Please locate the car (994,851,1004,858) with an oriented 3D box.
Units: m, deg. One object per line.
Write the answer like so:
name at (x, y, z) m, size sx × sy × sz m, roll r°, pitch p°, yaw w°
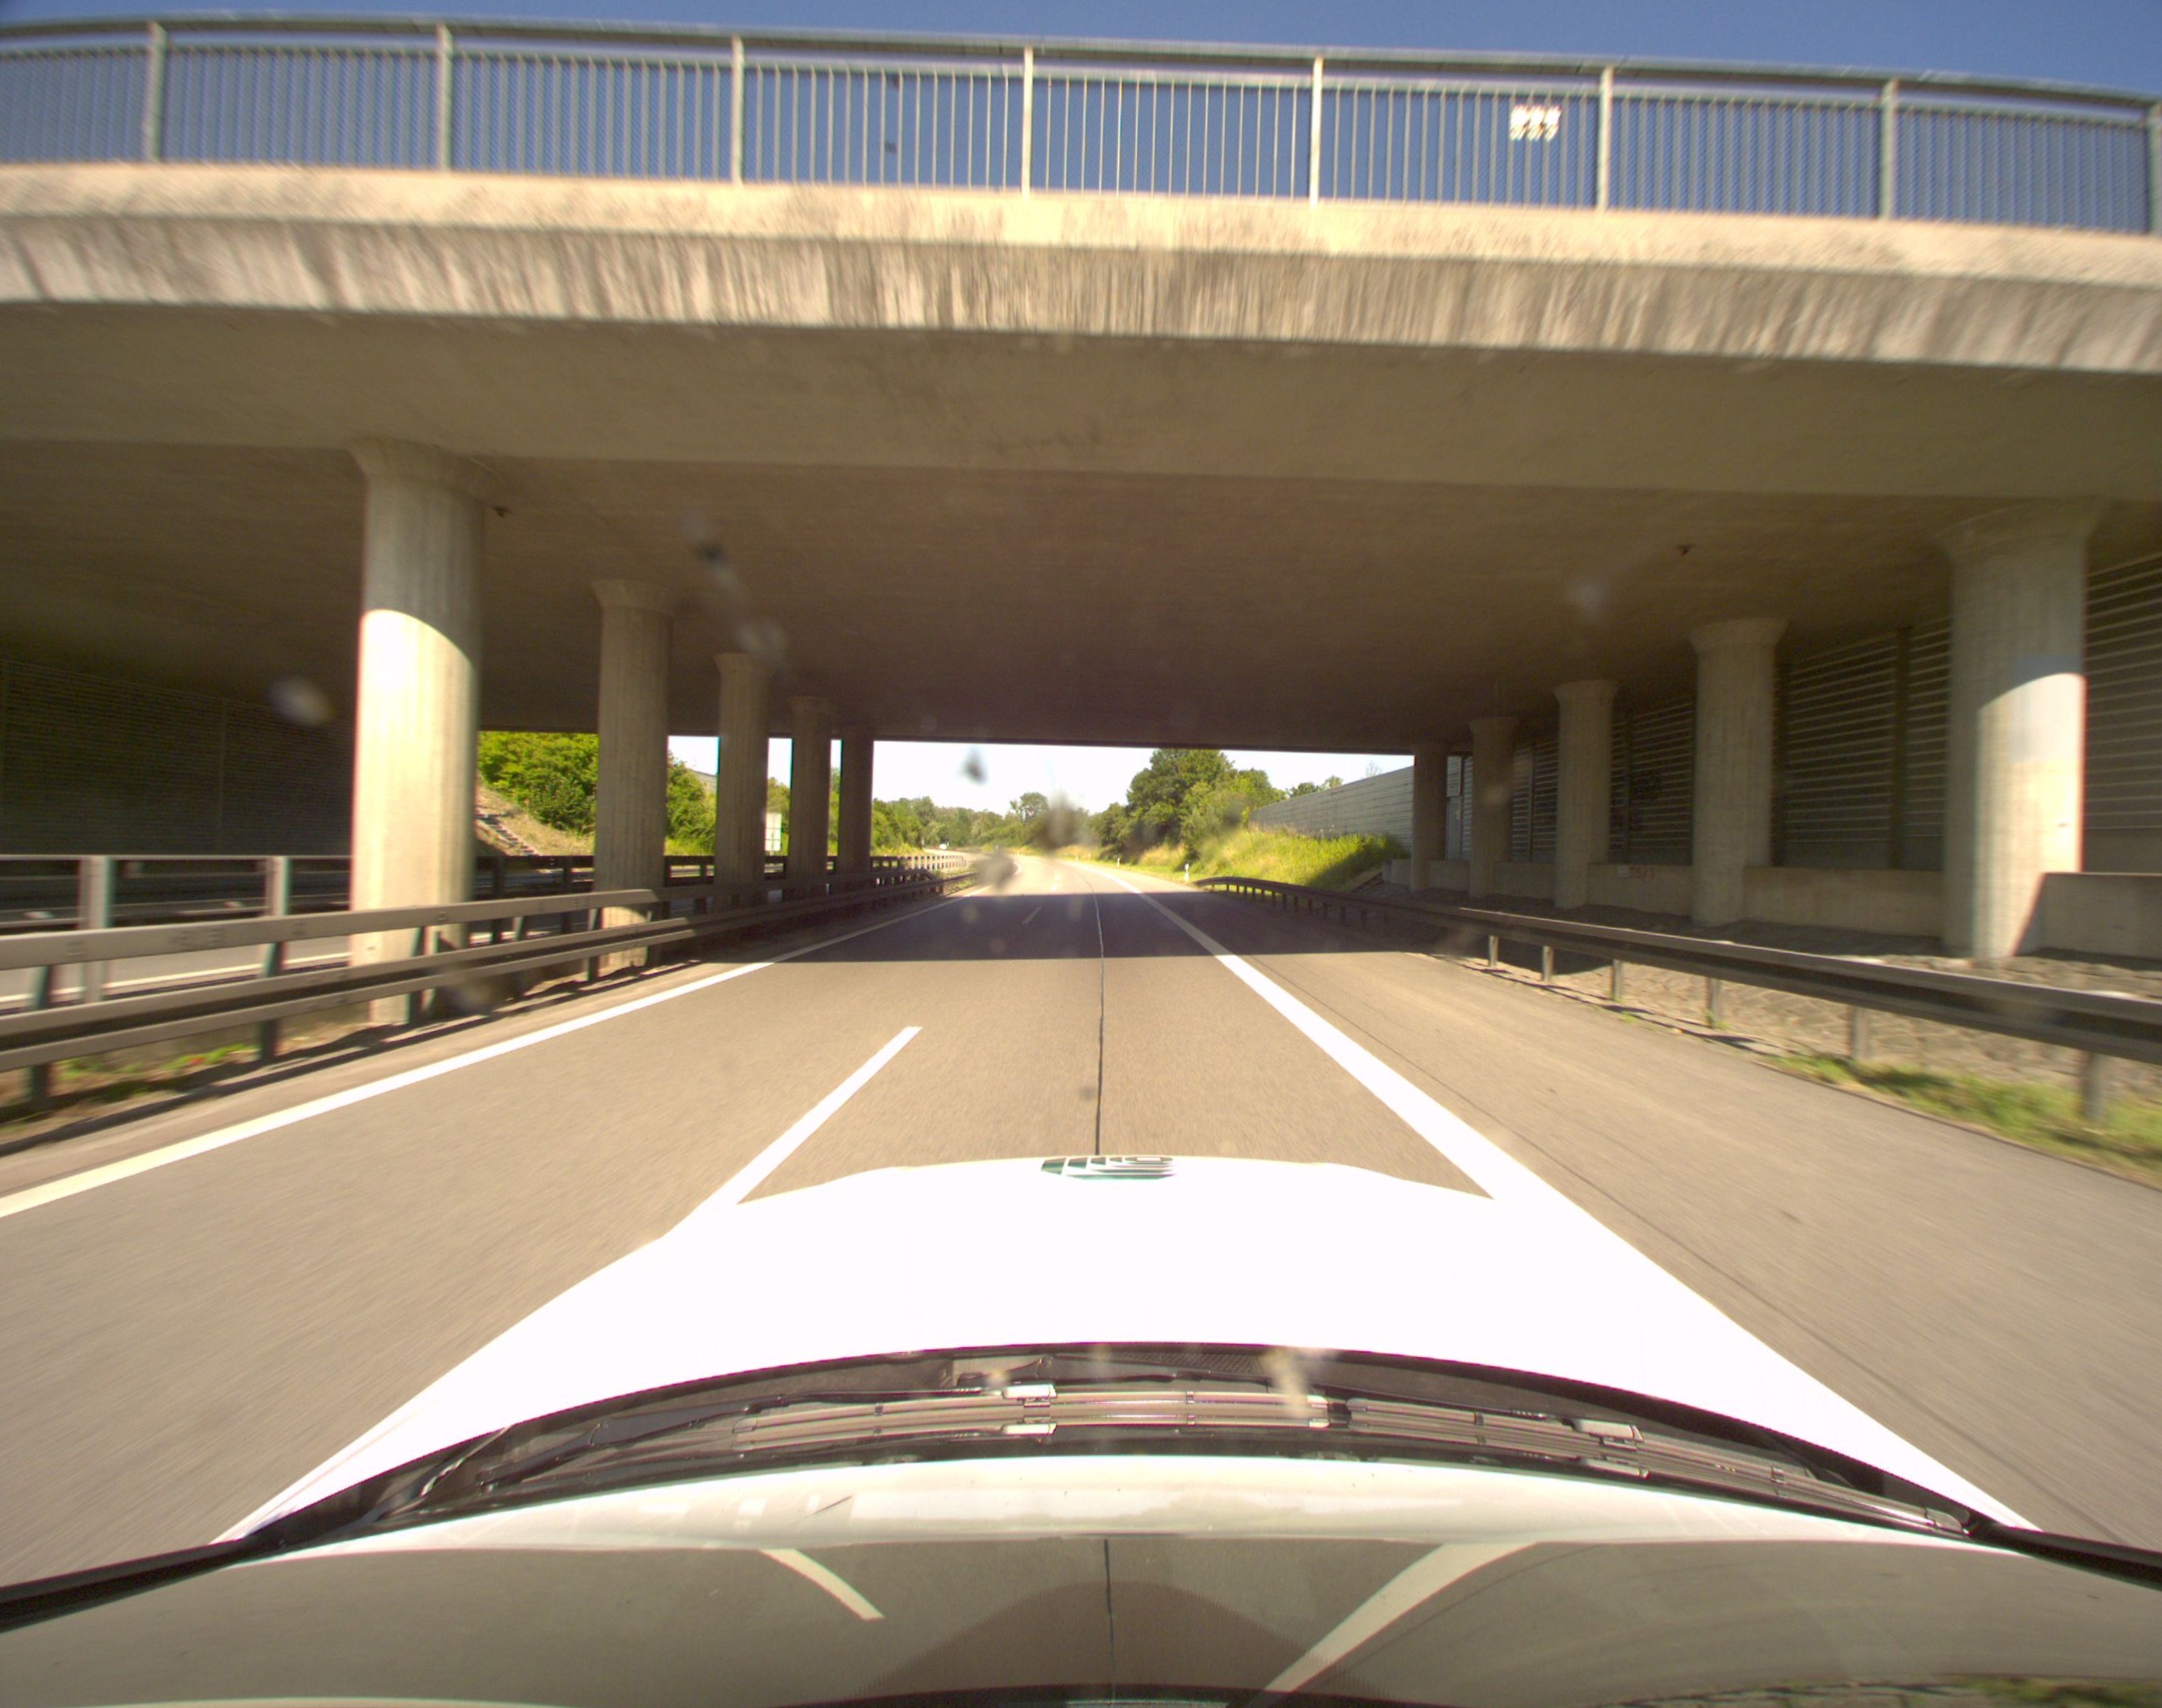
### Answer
car at (-21.539, 0.100, 213.461) m, size 2.063 × 1.625 × 3.983 m, roll 0°, pitch -1°, yaw -12°
